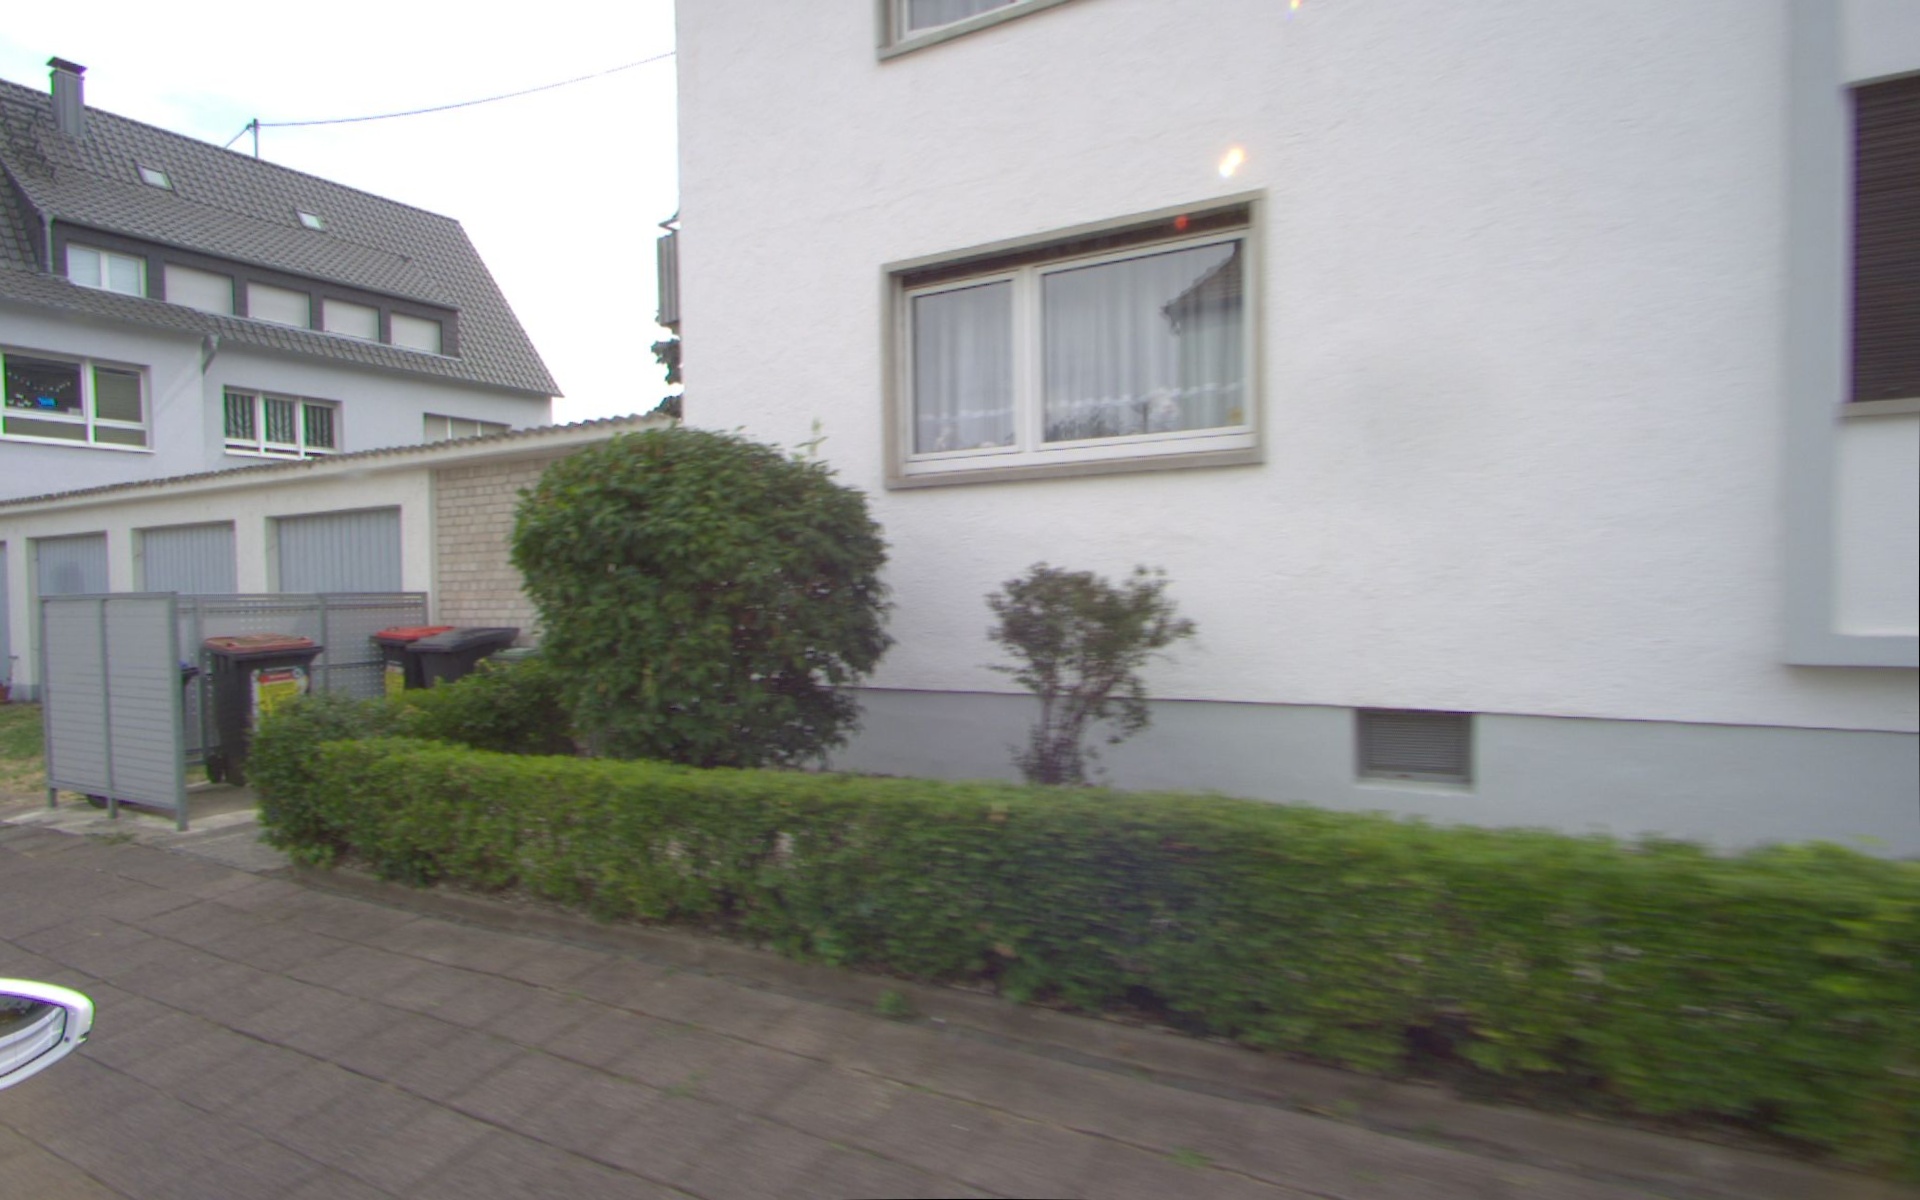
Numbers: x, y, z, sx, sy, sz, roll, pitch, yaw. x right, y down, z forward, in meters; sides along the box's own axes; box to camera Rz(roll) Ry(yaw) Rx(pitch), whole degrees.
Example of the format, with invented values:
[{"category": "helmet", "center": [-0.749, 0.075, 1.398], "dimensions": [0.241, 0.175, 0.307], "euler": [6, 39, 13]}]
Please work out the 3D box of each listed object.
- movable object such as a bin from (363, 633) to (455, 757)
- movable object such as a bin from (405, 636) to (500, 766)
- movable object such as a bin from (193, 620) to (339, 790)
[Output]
[{"category": "movable object such as a bin", "center": [-4.636, 0.782, 8.430], "dimensions": [0.499, 0.986, 0.453], "euler": [-2, 1, 30]}, {"category": "movable object such as a bin", "center": [-4.086, 0.794, 8.061], "dimensions": [0.499, 0.986, 0.453], "euler": [-2, 1, 30]}, {"category": "movable object such as a bin", "center": [-5.076, 0.742, 7.328], "dimensions": [0.743, 1.152, 0.579], "euler": [-2, 0, 30]}]
